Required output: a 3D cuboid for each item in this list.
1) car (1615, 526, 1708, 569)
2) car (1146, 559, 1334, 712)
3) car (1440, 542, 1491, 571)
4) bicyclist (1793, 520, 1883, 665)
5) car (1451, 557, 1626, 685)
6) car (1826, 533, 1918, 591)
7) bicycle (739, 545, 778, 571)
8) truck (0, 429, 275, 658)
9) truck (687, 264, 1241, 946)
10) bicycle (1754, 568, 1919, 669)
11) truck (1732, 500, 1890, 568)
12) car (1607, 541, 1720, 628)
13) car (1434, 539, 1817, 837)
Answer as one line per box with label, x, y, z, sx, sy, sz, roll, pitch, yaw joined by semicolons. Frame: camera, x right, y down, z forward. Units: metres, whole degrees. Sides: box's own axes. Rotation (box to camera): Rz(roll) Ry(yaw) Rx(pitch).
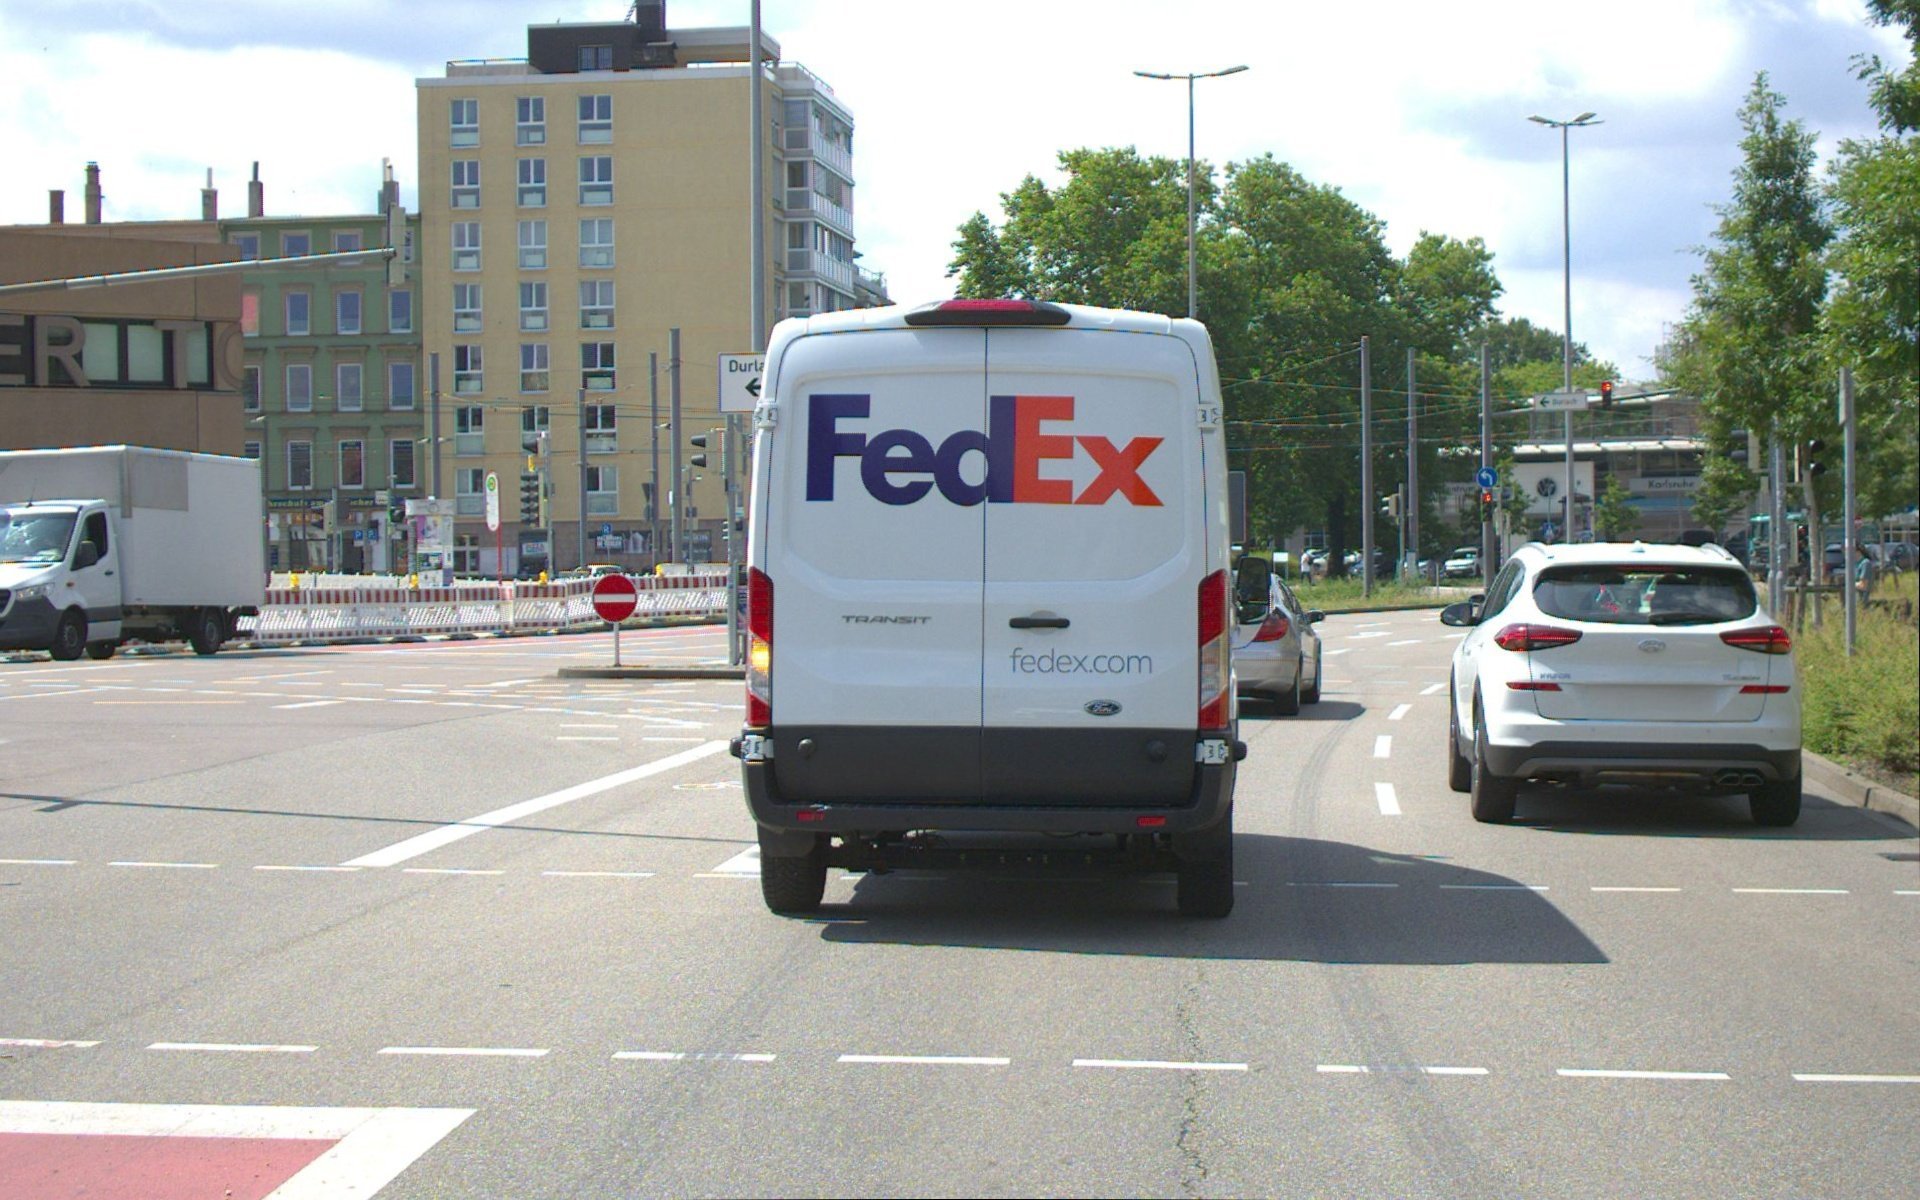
car;30.545;-2.279;149.583;1.722;1.794;4.728;-1;1;43
car;2.796;0.310;34.247;1.741;1.387;4.179;0;1;5
car;28.524;-2.442;193.894;1.995;1.568;4.174;1;0;20
bicyclist;9.984;-0.079;39.094;0.828;1.596;0.579;-3;-1;6
car;6.847;0.215;40.991;1.915;1.415;3.917;0;1;8
car;26.891;-1.133;101.294;1.884;1.636;3.952;0;1;26
bicycle;-8.789;-1.831;150.097;0.510;1.143;2.134;1;0;-40
truck;-12.408;-0.766;49.740;1.995;3.057;7.326;1;0;13
truck;0.248;-0.018;16.323;2.137;2.631;5.916;1;1;5
bicycle;10.020;0.211;39.090;1.810;1.046;0.591;-3;-1;6
truck;37.045;-2.898;149.449;2.892;2.842;8.771;0;1;42
car;13.841;-0.328;67.501;1.882;1.636;3.954;0;1;16
car;3.987;0.459;21.224;1.881;1.636;4.232;0;1;5
